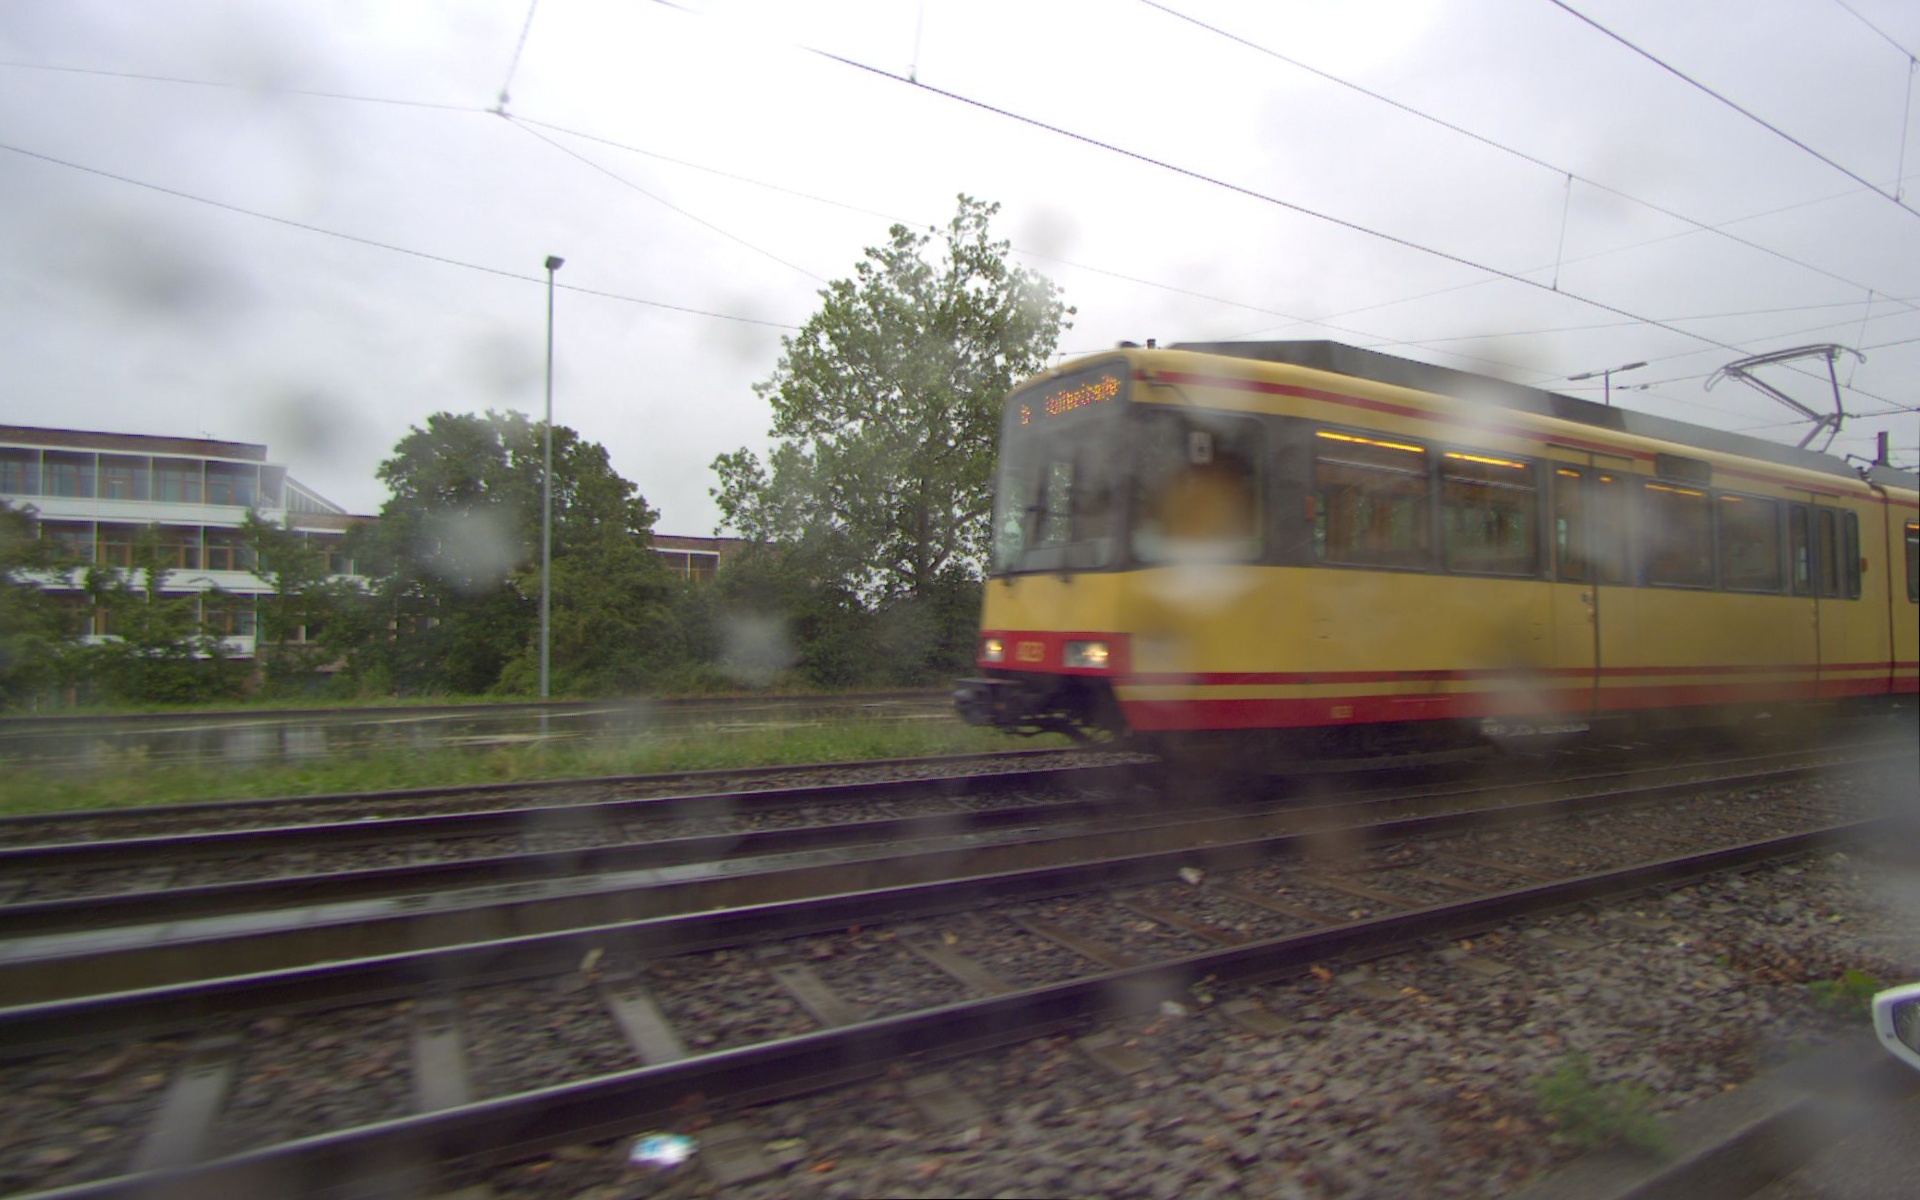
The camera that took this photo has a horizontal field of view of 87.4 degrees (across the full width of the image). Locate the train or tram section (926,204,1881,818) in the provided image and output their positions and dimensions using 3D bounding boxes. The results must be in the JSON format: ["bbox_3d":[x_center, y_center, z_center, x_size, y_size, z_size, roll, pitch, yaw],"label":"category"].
[{"bbox_3d":[5.964,-0.459,11.334,12.865,4.205,2.793,2,0,-30],"label":"train or tram section"}]

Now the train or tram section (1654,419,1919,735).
[{"bbox_3d":[17.162,-0.117,17.817,12.867,4.205,2.793,2,-1,-30],"label":"train or tram section"}]
